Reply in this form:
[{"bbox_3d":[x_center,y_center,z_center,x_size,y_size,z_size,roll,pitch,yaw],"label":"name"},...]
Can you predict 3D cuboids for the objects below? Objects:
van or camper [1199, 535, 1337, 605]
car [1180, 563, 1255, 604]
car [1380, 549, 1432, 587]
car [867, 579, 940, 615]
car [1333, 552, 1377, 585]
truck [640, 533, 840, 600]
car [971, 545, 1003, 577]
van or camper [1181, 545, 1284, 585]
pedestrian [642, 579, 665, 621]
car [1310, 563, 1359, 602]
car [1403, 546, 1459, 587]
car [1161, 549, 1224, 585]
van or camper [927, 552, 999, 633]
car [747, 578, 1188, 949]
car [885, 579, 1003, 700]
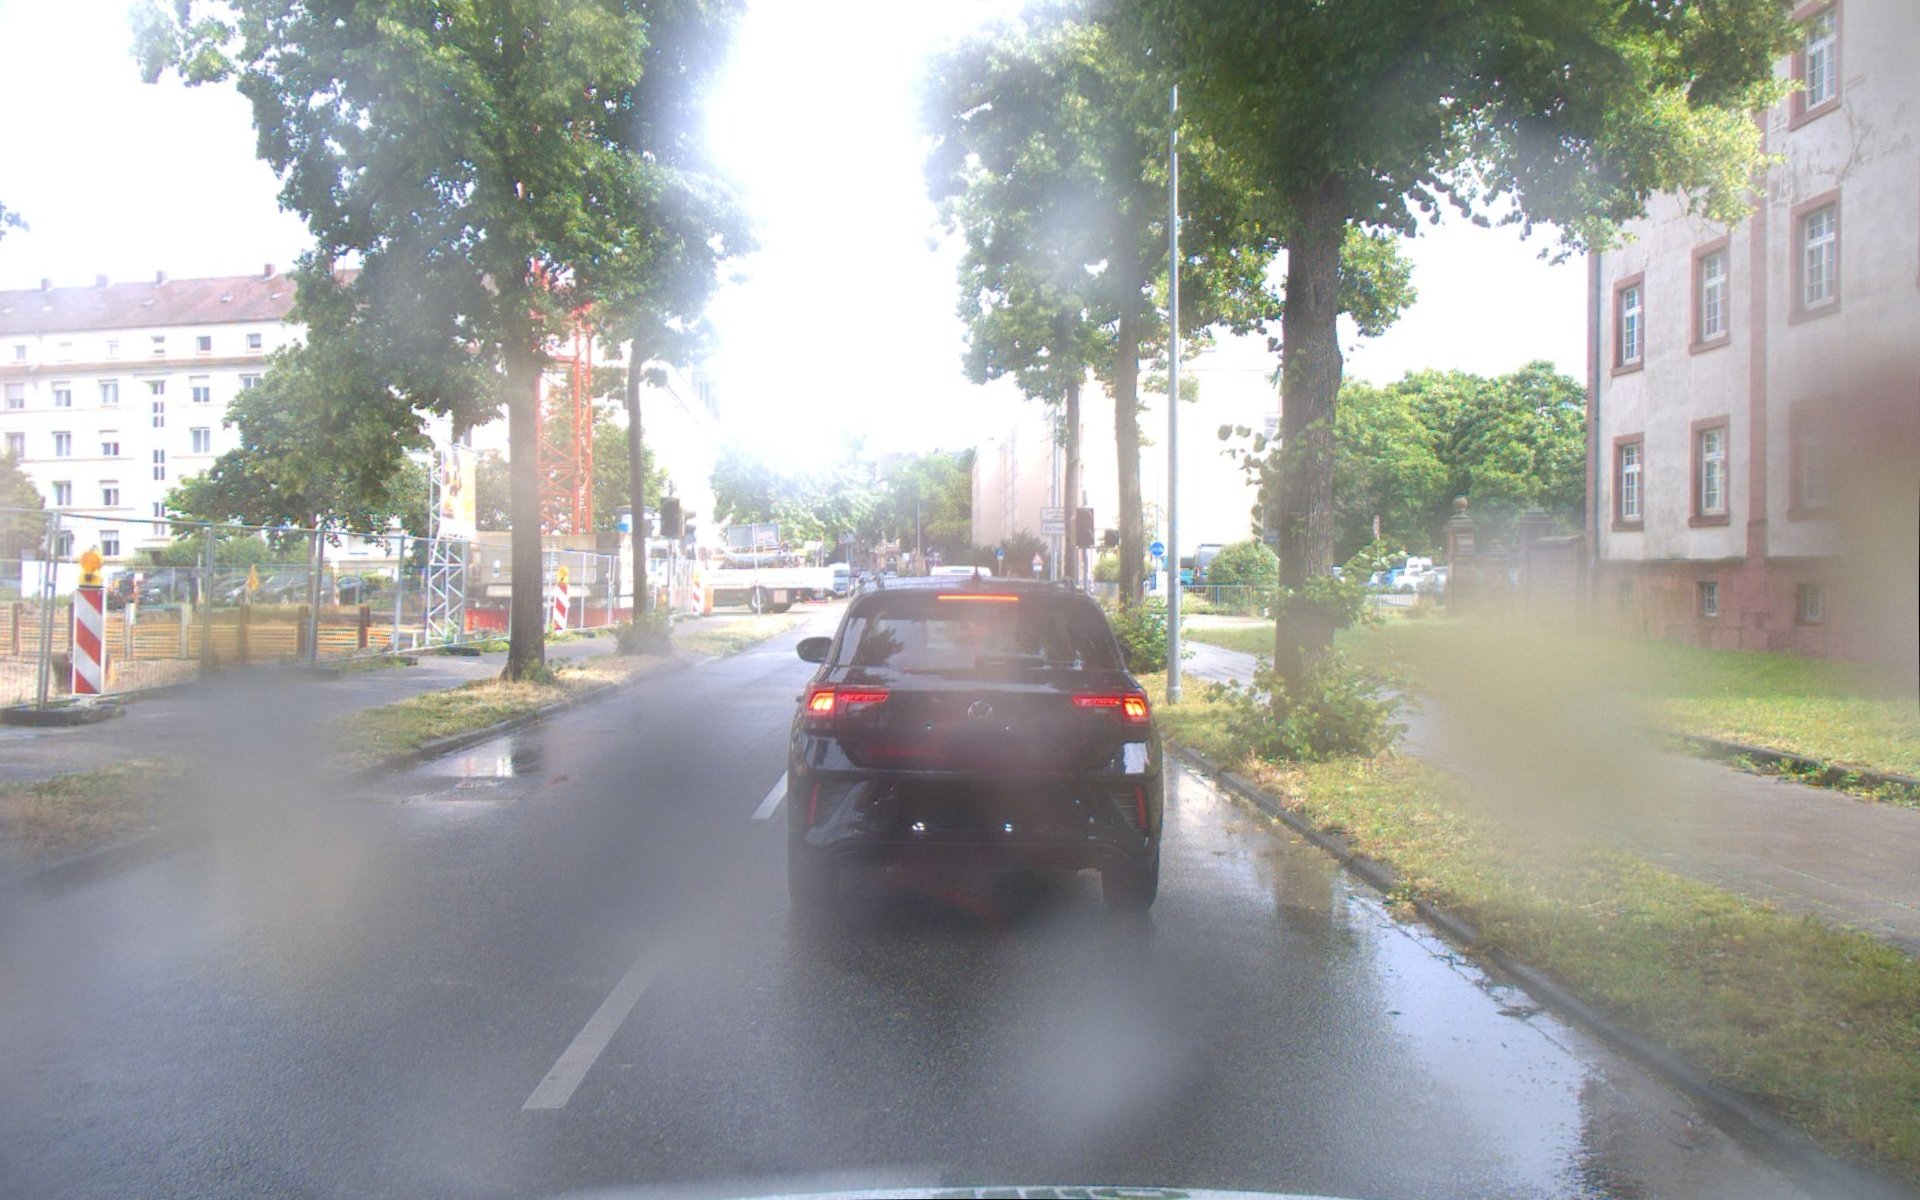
[{"bbox_3d":[12.045,-1.157,64.917,4.931,2.641,2.167,-1,1,-2],"label":"van or camper"},{"bbox_3d":[11.974,-0.758,77.171,3.335,1.812,1.761,-1,1,6],"label":"car"},{"bbox_3d":[25.302,-1.804,93.922,1.952,2.048,4.002,-3,1,3],"label":"car"},{"bbox_3d":[-2.898,-0.162,85.479,1.724,1.679,3.924,-3,1,34],"label":"car"},{"bbox_3d":[23.815,-1.882,99.742,1.828,1.889,3.812,-3,1,3],"label":"car"},{"bbox_3d":[-9.383,-1.467,70.624,8.039,2.702,2.817,1,2,16],"label":"truck"},{"bbox_3d":[1.762,-2.565,110.360,1.953,2.049,3.999,-2,0,-1],"label":"car"},{"bbox_3d":[13.551,-1.752,82.405,4.775,1.959,2.131,0,2,0],"label":"van or camper"},{"bbox_3d":[-11.154,-0.004,60.181,0.652,1.511,0.667,0,1,-25],"label":"pedestrian"},{"bbox_3d":[17.648,-0.819,78.152,1.706,1.713,3.873,-3,1,5],"label":"car"},{"bbox_3d":[25.268,-1.774,88.793,1.952,2.048,4.002,-3,1,3],"label":"car"},{"bbox_3d":[12.977,-1.817,92.284,3.335,1.812,1.761,-3,1,8],"label":"car"},{"bbox_3d":[0.107,-0.225,43.284,1.782,1.981,4.195,1,1,1],"label":"van or camper"},{"bbox_3d":[0.008,0.670,8.996,1.856,1.549,4.000,0,1,-1],"label":"car"},{"bbox_3d":[-0.196,0.585,26.769,1.645,1.738,3.911,-3,0,2],"label":"car"}]
